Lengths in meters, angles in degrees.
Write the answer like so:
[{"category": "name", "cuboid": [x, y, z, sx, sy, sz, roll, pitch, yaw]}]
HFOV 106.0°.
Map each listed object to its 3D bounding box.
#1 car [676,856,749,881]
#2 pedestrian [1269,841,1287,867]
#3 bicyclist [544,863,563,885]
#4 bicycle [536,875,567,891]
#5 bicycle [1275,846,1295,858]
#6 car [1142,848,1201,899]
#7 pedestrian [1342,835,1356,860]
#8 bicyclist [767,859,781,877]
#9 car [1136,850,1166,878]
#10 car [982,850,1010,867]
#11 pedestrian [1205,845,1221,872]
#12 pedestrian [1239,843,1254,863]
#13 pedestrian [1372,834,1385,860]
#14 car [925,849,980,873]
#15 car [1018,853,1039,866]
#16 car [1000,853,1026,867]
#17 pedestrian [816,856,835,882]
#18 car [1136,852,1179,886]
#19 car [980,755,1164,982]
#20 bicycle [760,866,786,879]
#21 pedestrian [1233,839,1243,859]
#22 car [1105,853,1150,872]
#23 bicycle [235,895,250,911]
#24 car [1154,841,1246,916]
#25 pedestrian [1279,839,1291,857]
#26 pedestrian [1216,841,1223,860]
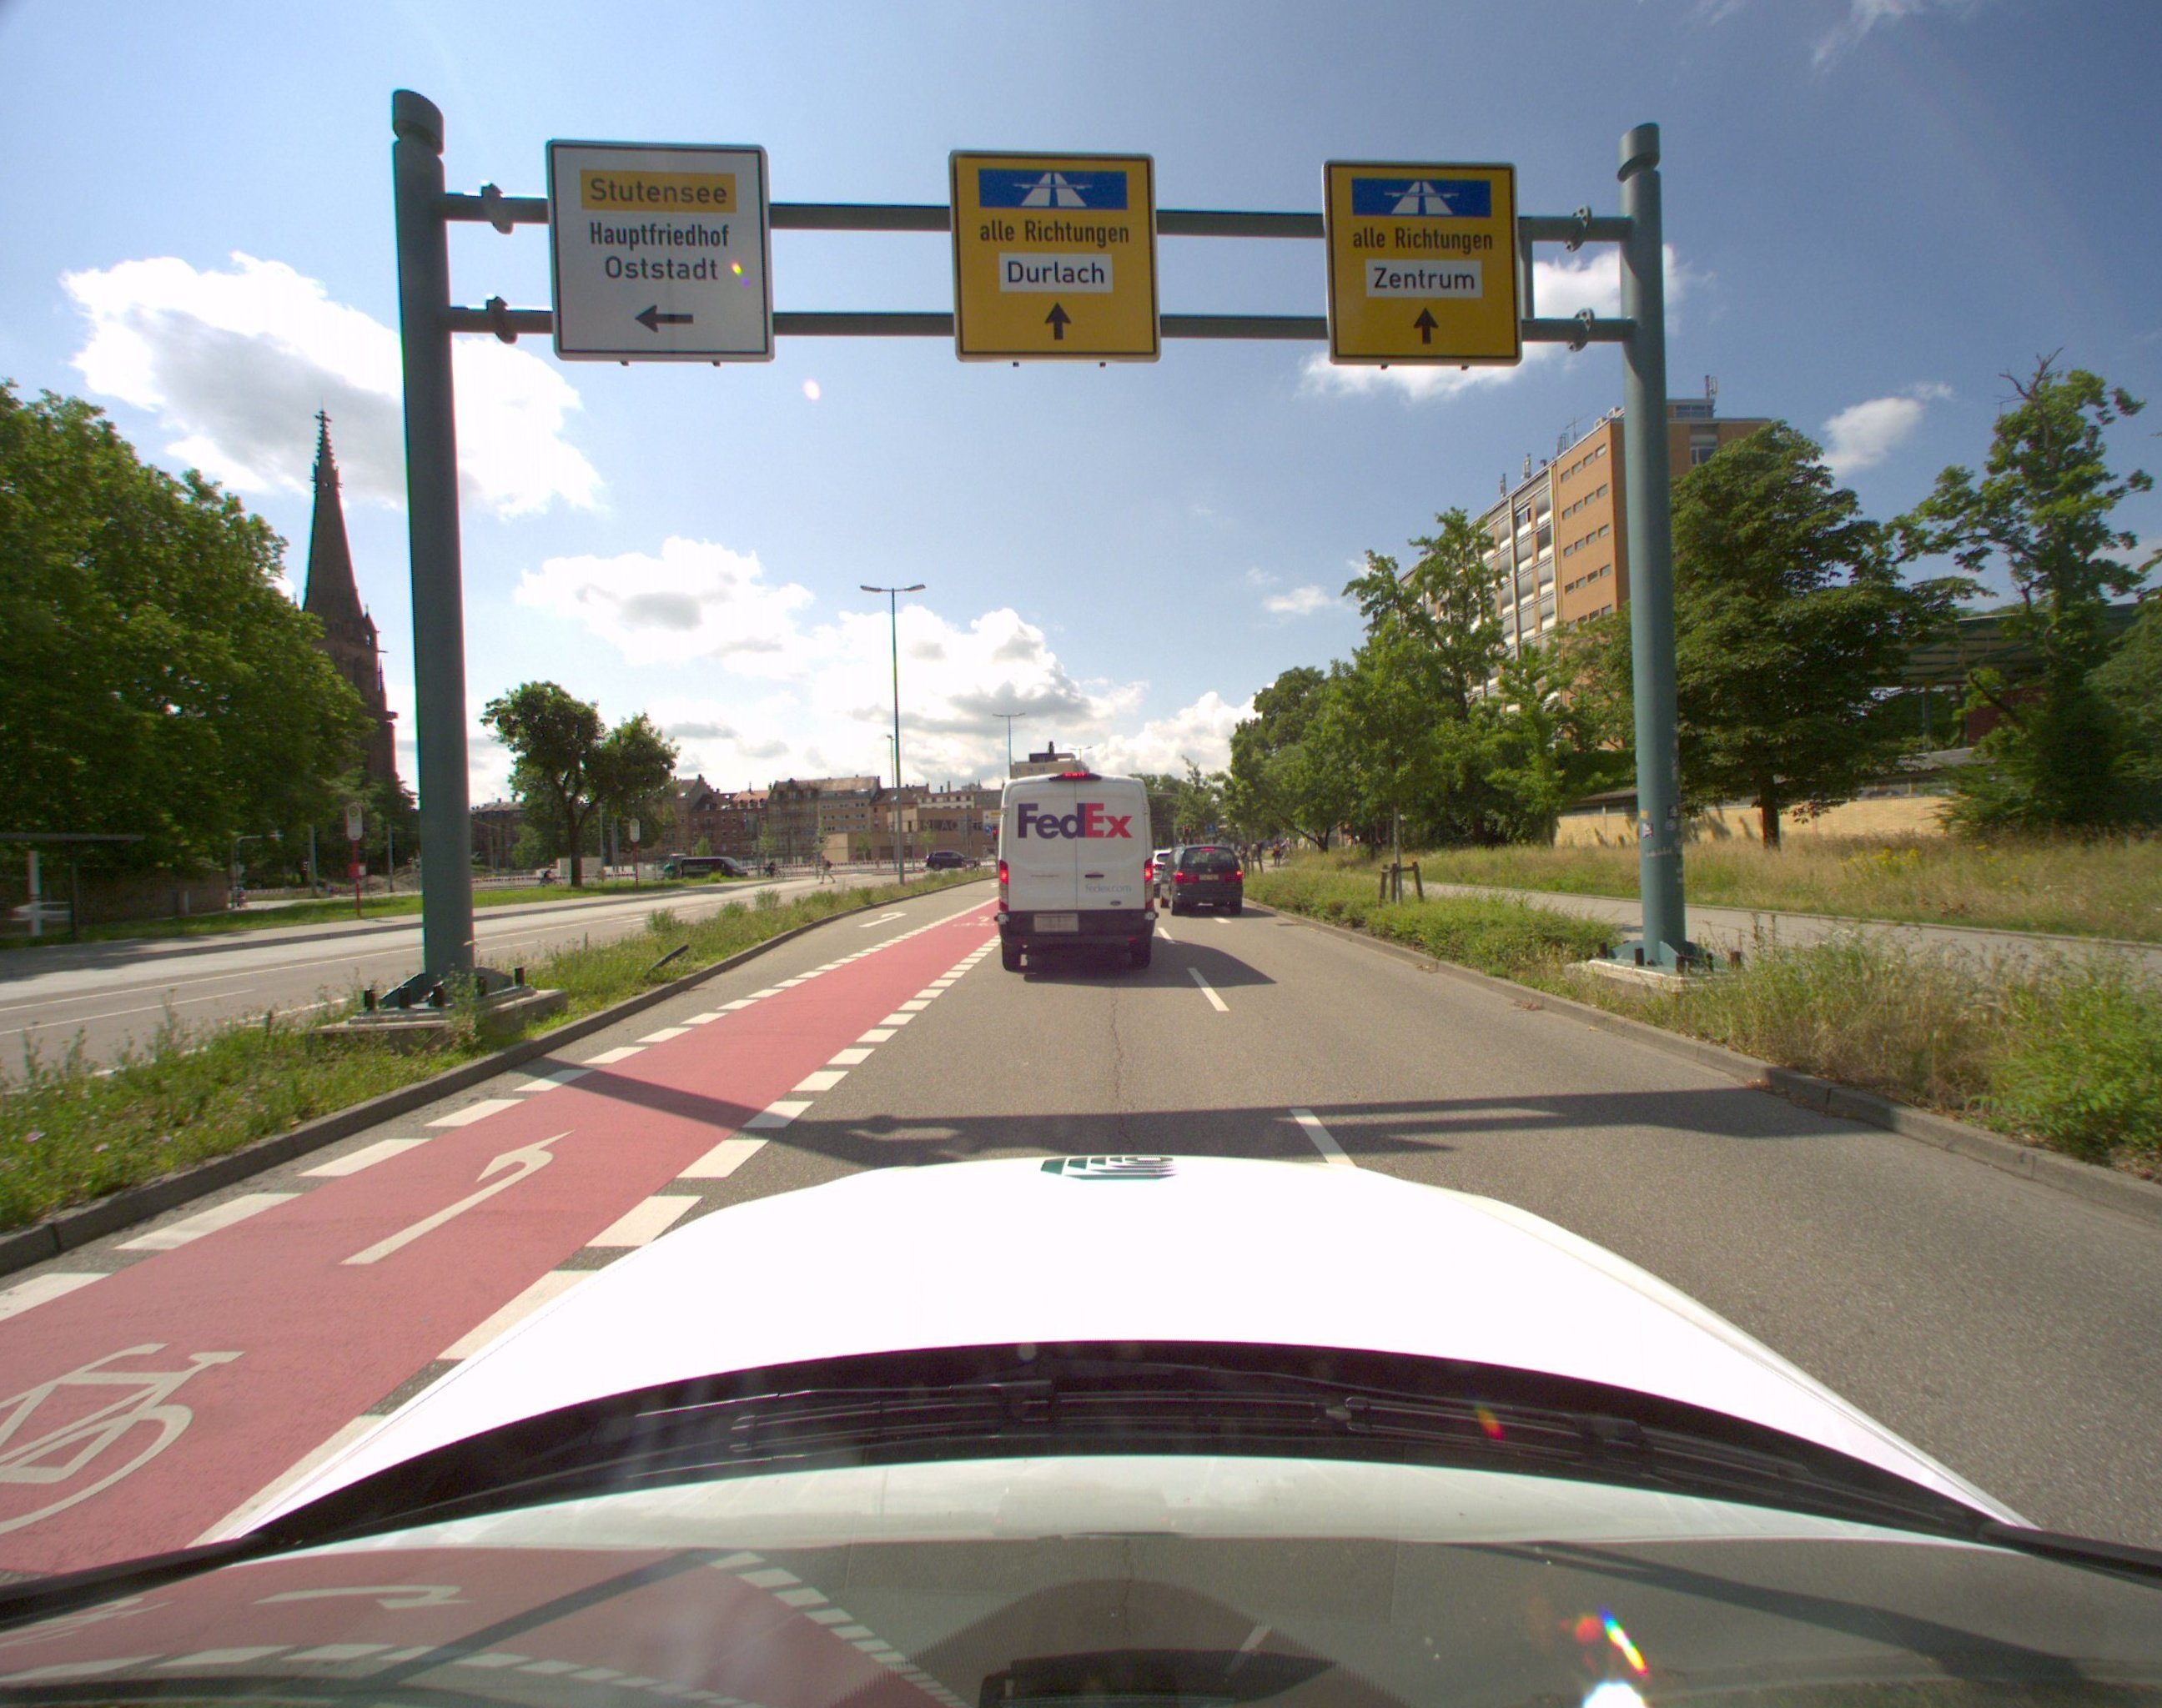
[{"category": "car", "cuboid": [-30.167, 1.178, 66.801, 4.997, 1.879, 1.927, -2, 0, -3]}, {"category": "pedestrian", "cuboid": [12.032, -0.007, 49.829, 0.842, 1.539, 0.835, -2, 0, 0]}, {"category": "bicyclist", "cuboid": [-44.866, 1.710, 69.240, 1.118, 1.844, 0.592, -2, 0, -7]}, {"category": "bicycle", "cuboid": [-44.877, 2.453, 69.052, 2.062, 1.290, 0.603, -2, 0, -7]}, {"category": "bicycle", "cuboid": [17.154, -0.154, 68.624, 1.557, 0.955, 0.488, -2, 0, 19]}, {"category": "car", "cuboid": [3.194, 0.643, 29.382, 1.790, 1.687, 4.003, -2, 0, 3]}, {"category": "pedestrian", "cuboid": [22.455, -0.514, 68.265, 0.740, 2.058, 0.843, -2, 0, -16]}, {"category": "bicyclist", "cuboid": [-26.394, 1.217, 69.984, 0.967, 1.474, 0.550, -2, 0, -7]}, {"category": "car", "cuboid": [3.860, 0.513, 45.206, 1.478, 1.428, 3.435, -2, 0, 3]}, {"category": "car", "cuboid": [-10.316, 0.517, 99.473, 1.979, 2.014, 4.016, -2, -1, 15]}, {"category": "pedestrian", "cuboid": [9.431, 0.313, 58.265, 0.947, 1.892, 0.774, -2, 0, 0]}, {"category": "pedestrian", "cuboid": [11.539, -0.060, 56.897, 0.842, 1.389, 0.741, -2, 0, 0]}, {"category": "pedestrian", "cuboid": [24.464, -0.595, 66.938, 0.837, 2.058, 0.745, -2, 0, 29]}, {"category": "car", "cuboid": [-11.480, 0.619, 73.062, 4.620, 2.014, 2.097, -2, -1, -4]}, {"category": "car", "cuboid": [-6.758, 0.690, 104.962, 1.868, 1.652, 4.010, -2, 0, 9]}, {"category": "car", "cuboid": [-8.196, 0.701, 98.781, 1.887, 1.585, 4.016, -2, 0, 15]}, {"category": "pedestrian", "cuboid": [-15.242, 0.888, 48.522, 0.880, 1.560, 0.549, -2, 0, -41]}, {"category": "car", "cuboid": [3.498, 0.660, 37.911, 1.790, 1.461, 3.841, -2, 0, 3]}, {"category": "car", "cuboid": [-0.258, 0.167, 12.545, 2.136, 2.652, 5.697, -1, 0, -3]}, {"category": "bicycle", "cuboid": [-26.466, 1.615, 69.981, 1.918, 1.030, 0.546, -2, 0, -7]}, {"category": "pedestrian", "cuboid": [15.237, -0.469, 78.853, 0.671, 1.892, 0.579, -2, 0, 45]}, {"category": "car", "cuboid": [4.619, 0.821, 80.310, 1.975, 1.794, 4.398, -3, -1, 43]}, {"category": "bicycle", "cuboid": [-50.968, 2.993, 49.494, 1.644, 0.902, 0.549, -2, 0, 42]}, {"category": "car", "cuboid": [3.018, 0.571, 21.467, 1.806, 1.734, 4.389, -1, 0, 1]}, {"category": "pedestrian", "cuboid": [17.206, -0.506, 68.595, 0.891, 1.472, 0.488, -2, 0, 19]}, {"category": "pedestrian", "cuboid": [13.834, -0.357, 81.503, 0.572, 1.892, 0.679, -2, 0, 0]}]
